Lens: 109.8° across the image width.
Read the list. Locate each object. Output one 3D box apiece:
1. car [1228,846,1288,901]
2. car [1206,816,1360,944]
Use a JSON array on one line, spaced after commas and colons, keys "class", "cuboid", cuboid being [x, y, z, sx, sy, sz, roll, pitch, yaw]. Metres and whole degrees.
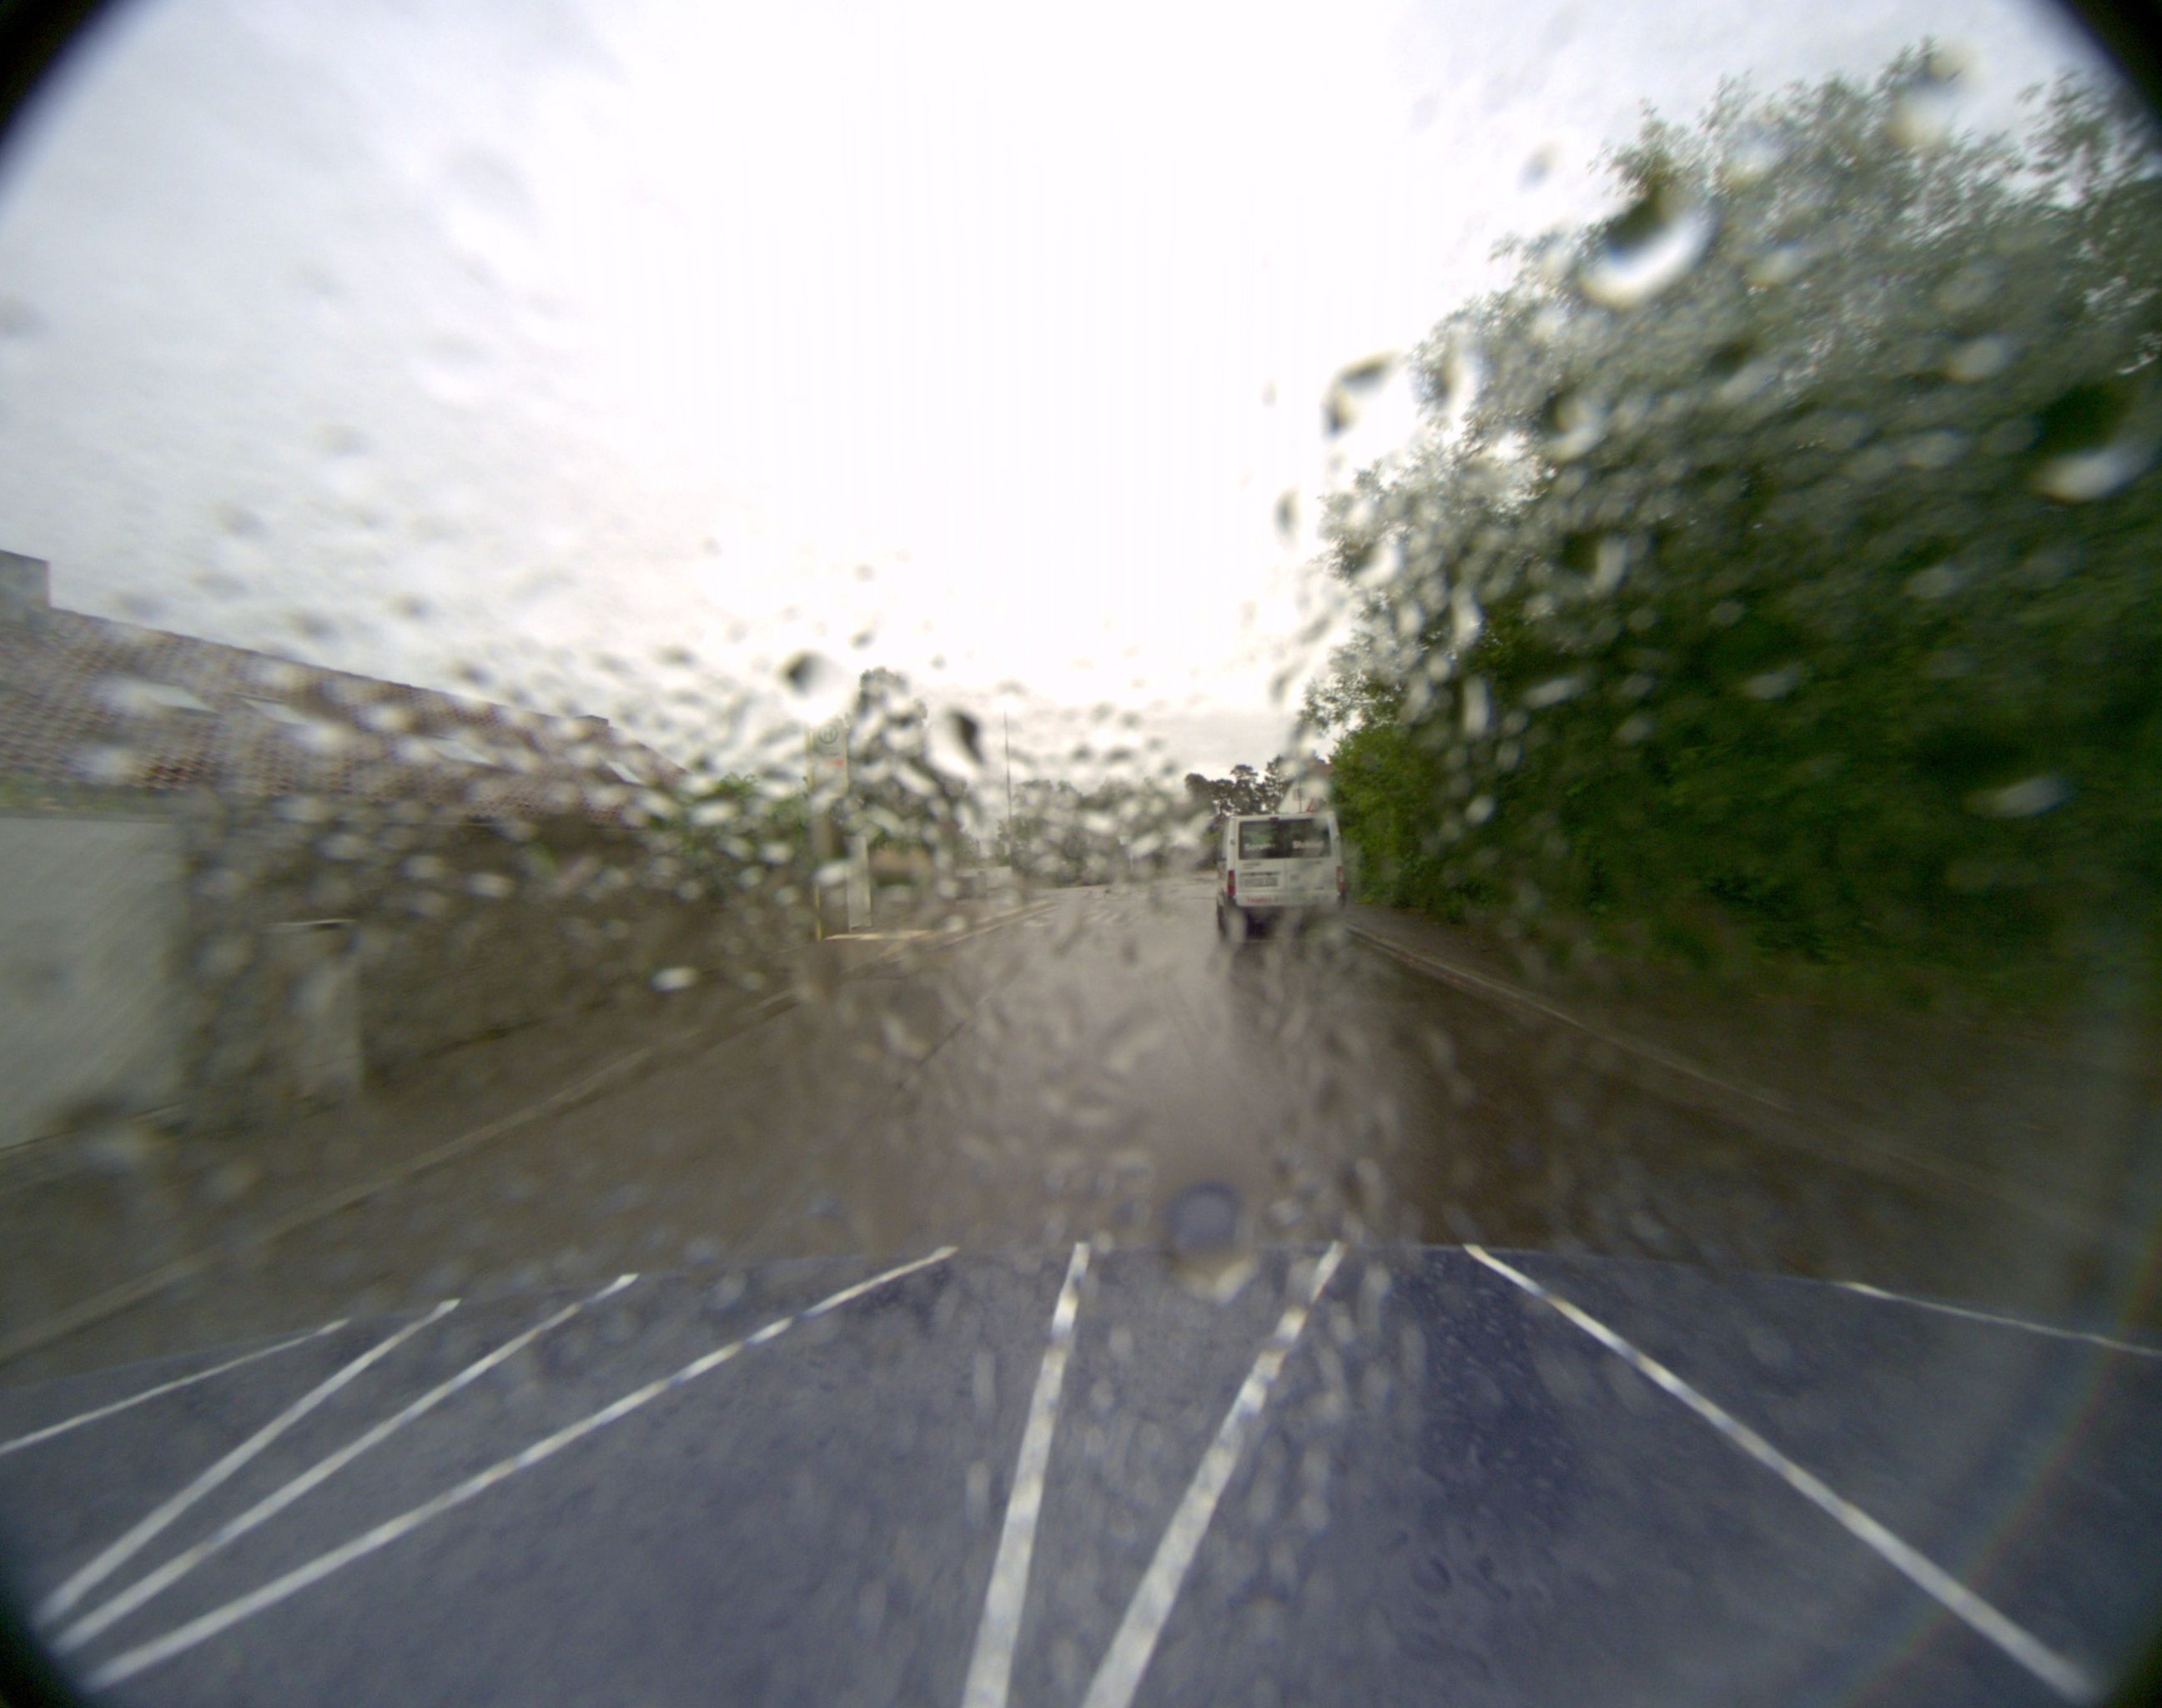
[{"class": "car", "cuboid": [5.341, 0.537, 22.965, 1.604, 1.503, 2.945, -2, 0, 13]}, {"class": "car", "cuboid": [3.604, 0.404, 14.566, 2.115, 1.963, 5.175, -2, 0, 7]}]
